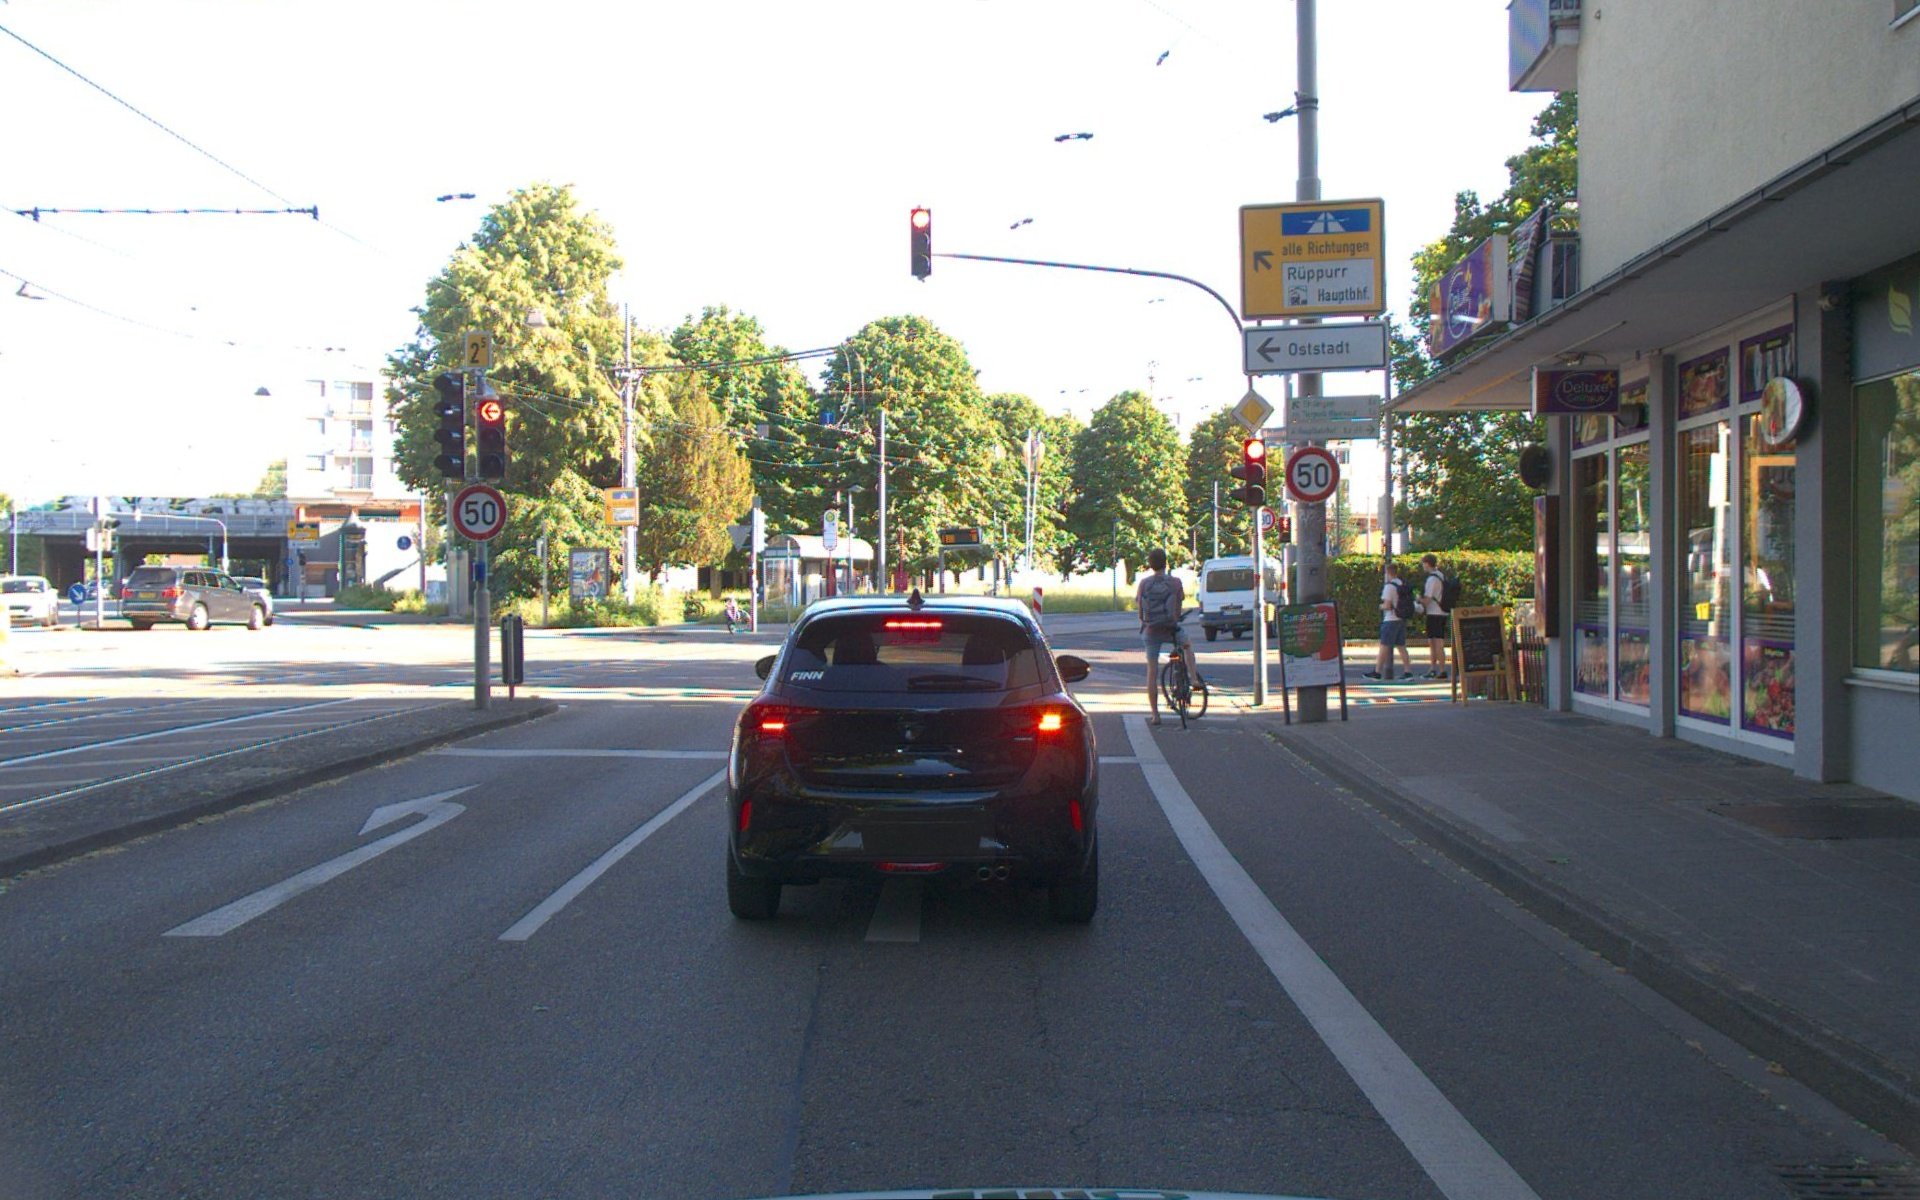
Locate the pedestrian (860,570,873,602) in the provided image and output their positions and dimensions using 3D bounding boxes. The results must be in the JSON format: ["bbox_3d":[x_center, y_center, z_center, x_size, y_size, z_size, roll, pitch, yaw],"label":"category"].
[{"bbox_3d":[-5.554,-0.815,98.103,0.723,1.904,0.661,1,-1,-7],"label":"pedestrian"}]

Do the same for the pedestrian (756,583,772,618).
[{"bbox_3d":[-8.561,0.011,72.327,0.558,1.498,0.666,0,0,7],"label":"pedestrian"}]

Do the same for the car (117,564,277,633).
[{"bbox_3d":[-22.024,-0.068,47.978,1.868,1.914,4.850,0,1,8],"label":"car"}]

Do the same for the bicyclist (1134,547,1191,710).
[{"bbox_3d":[2.185,0.298,17.796,0.522,1.722,0.568,0,0,16],"label":"bicyclist"}]

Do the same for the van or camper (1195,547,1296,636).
[{"bbox_3d":[8.069,-0.221,46.414,1.987,2.351,4.540,1,0,20],"label":"van or camper"}]

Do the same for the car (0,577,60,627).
[{"bbox_3d":[-31.455,0.070,55.483,1.860,1.613,3.809,1,0,-24],"label":"car"}]

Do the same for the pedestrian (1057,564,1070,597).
[{"bbox_3d":[6.097,-1.124,97.203,0.510,1.904,0.602,0,-1,40],"label":"pedestrian"}]

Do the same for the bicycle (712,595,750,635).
[{"bbox_3d":[-6.362,0.402,46.126,0.780,1.083,2.184,0,1,-1],"label":"bicycle"}]

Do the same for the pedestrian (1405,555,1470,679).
[{"bbox_3d":[7.300,0.258,25.298,0.625,1.852,0.739,1,-1,-25],"label":"pedestrian"}]

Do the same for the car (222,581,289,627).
[{"bbox_3d":[-24.849,0.127,58.448,1.770,1.545,4.184,1,0,-18],"label":"car"}]

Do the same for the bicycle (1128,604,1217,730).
[{"bbox_3d":[2.335,0.692,17.988,0.737,1.256,2.017,0,1,14],"label":"bicycle"}]

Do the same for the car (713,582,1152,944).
[{"bbox_3d":[-0.140,0.651,8.801,1.803,1.487,3.983,0,1,-1],"label":"car"}]

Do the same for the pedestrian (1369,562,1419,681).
[{"bbox_3d":[6.656,0.320,25.388,0.619,1.794,0.582,1,-1,3],"label":"pedestrian"}]
